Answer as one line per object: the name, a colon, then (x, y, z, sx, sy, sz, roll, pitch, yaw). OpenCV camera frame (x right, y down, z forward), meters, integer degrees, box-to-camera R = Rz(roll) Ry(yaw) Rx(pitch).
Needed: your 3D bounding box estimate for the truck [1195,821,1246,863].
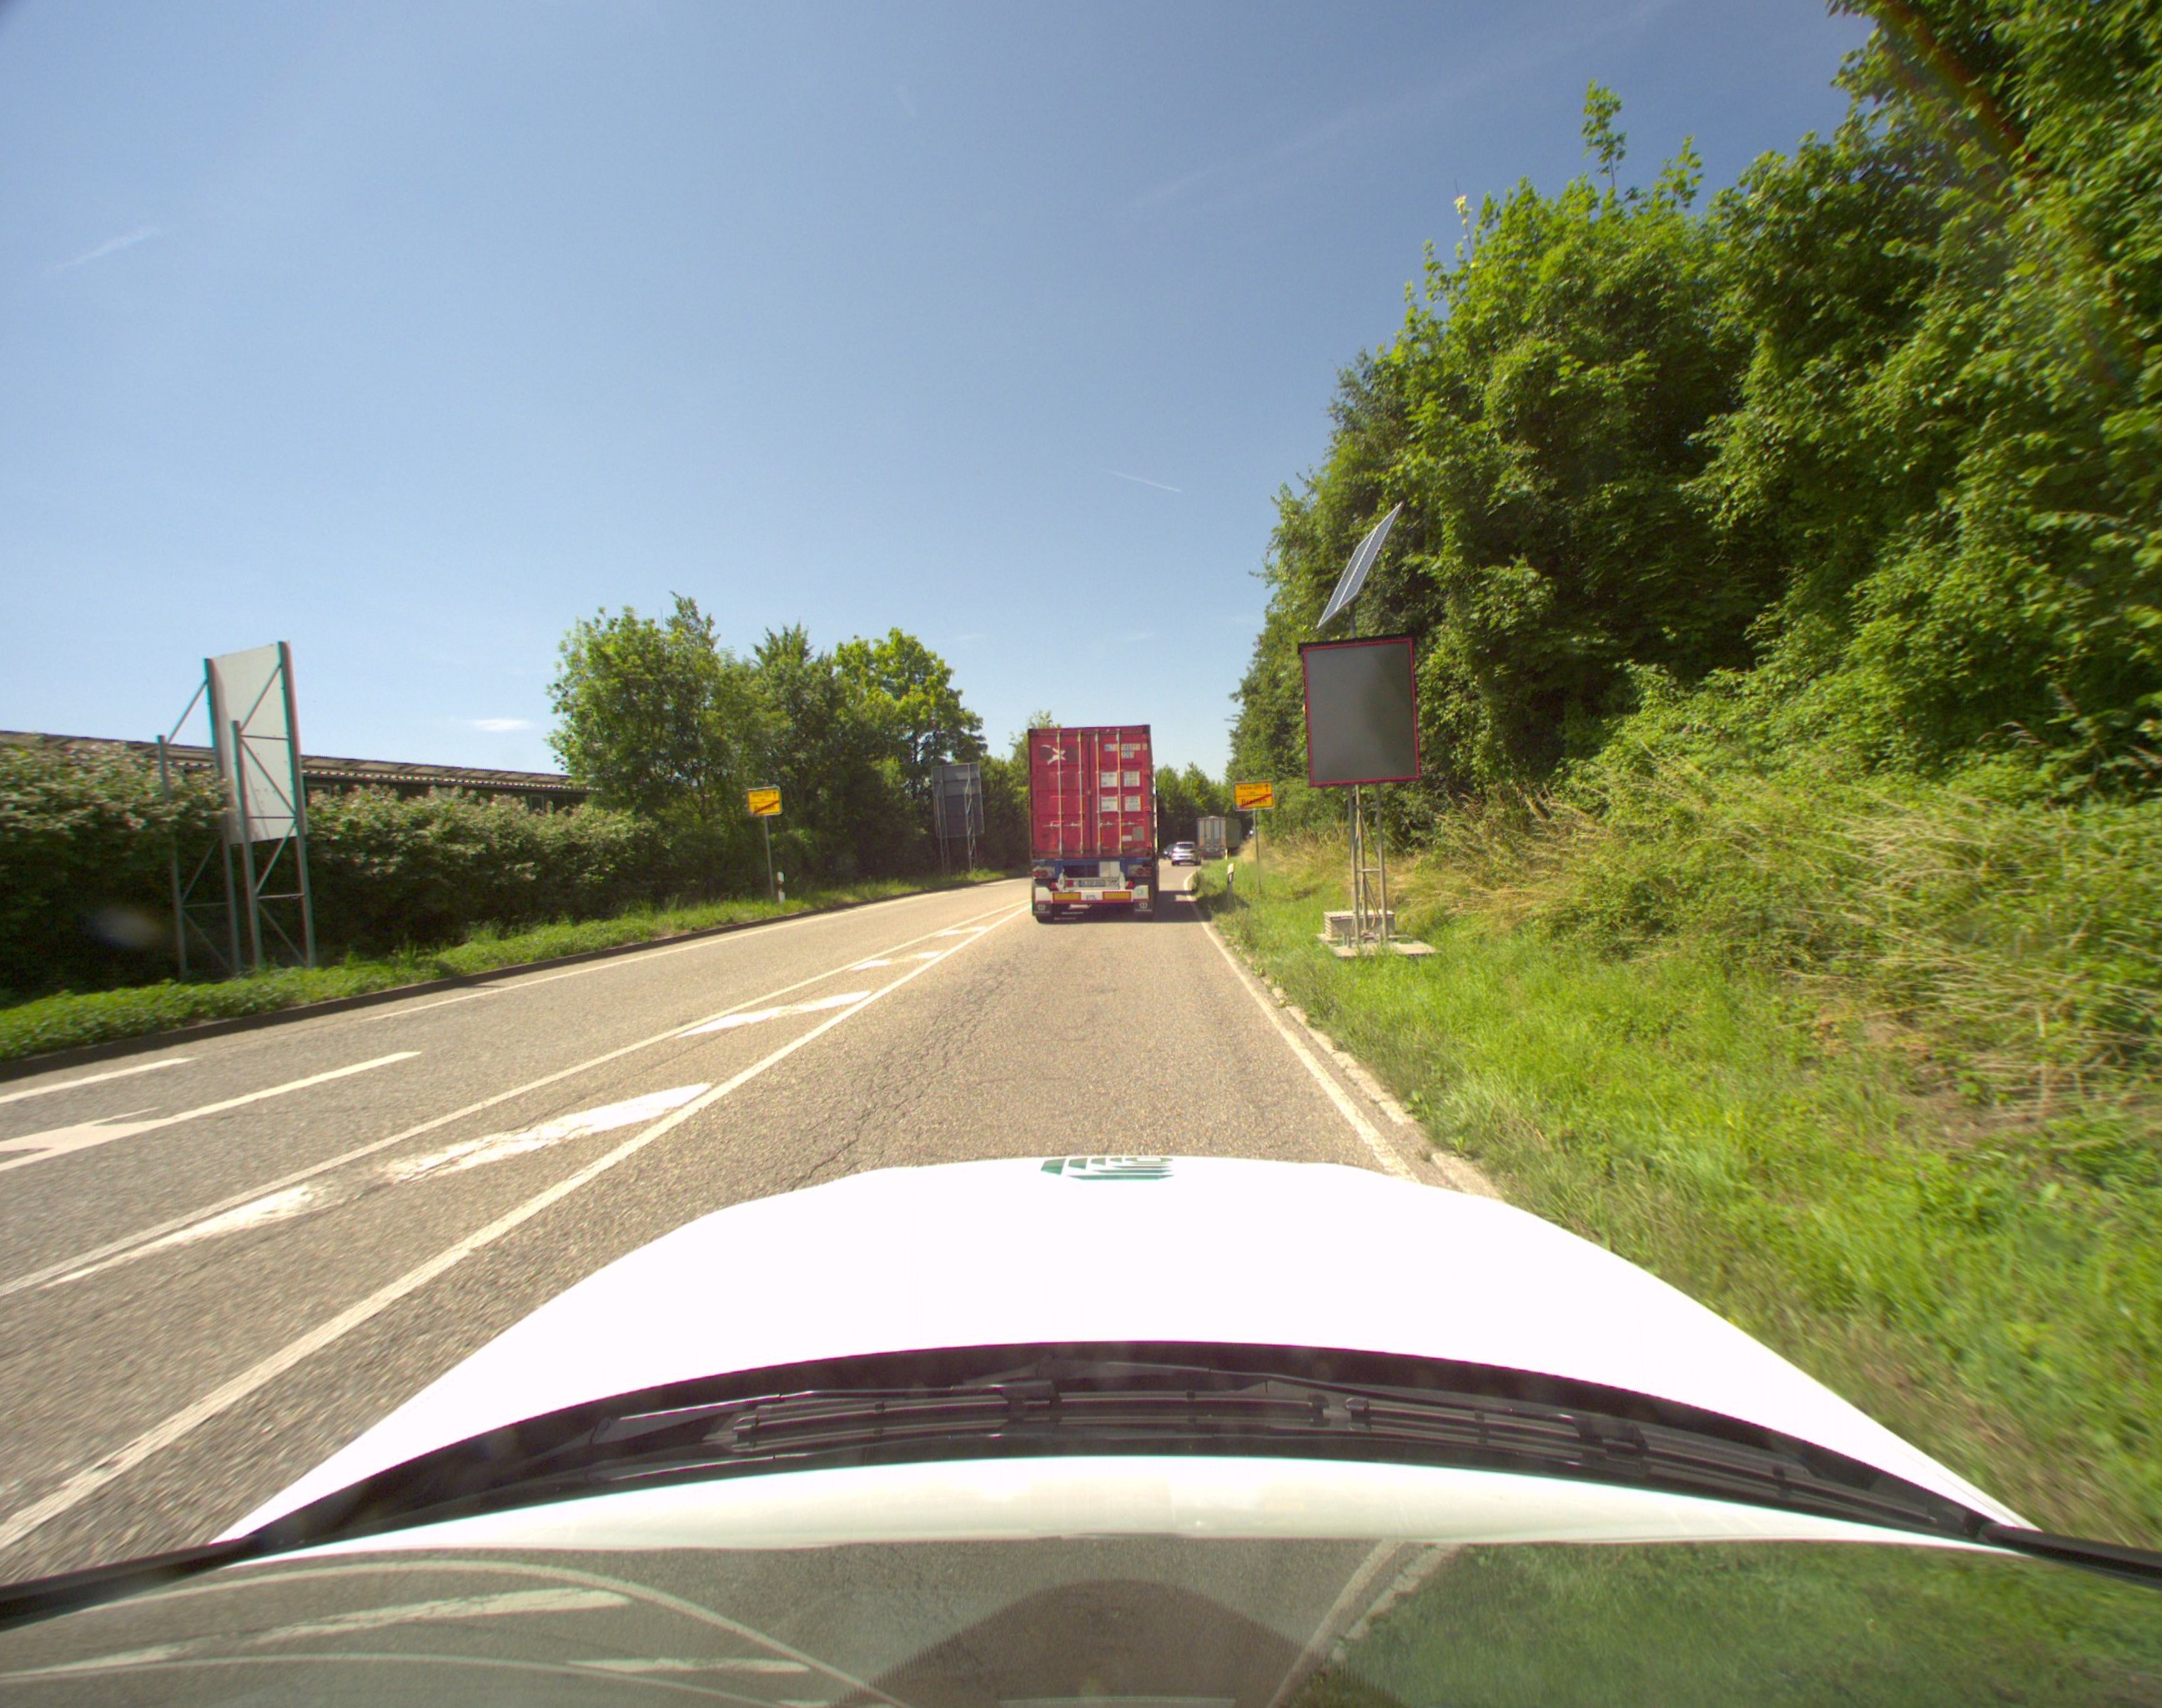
truck: (13.806, -1.090, 79.359, 2.898, 3.716, 13.422, -1, 0, 18)

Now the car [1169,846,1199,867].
car: (7.382, 0.136, 58.108, 1.821, 1.433, 4.012, -1, 0, 11)

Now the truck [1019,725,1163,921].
truck: (0.860, -0.600, 22.593, 2.634, 3.806, 13.383, -1, 0, 6)
